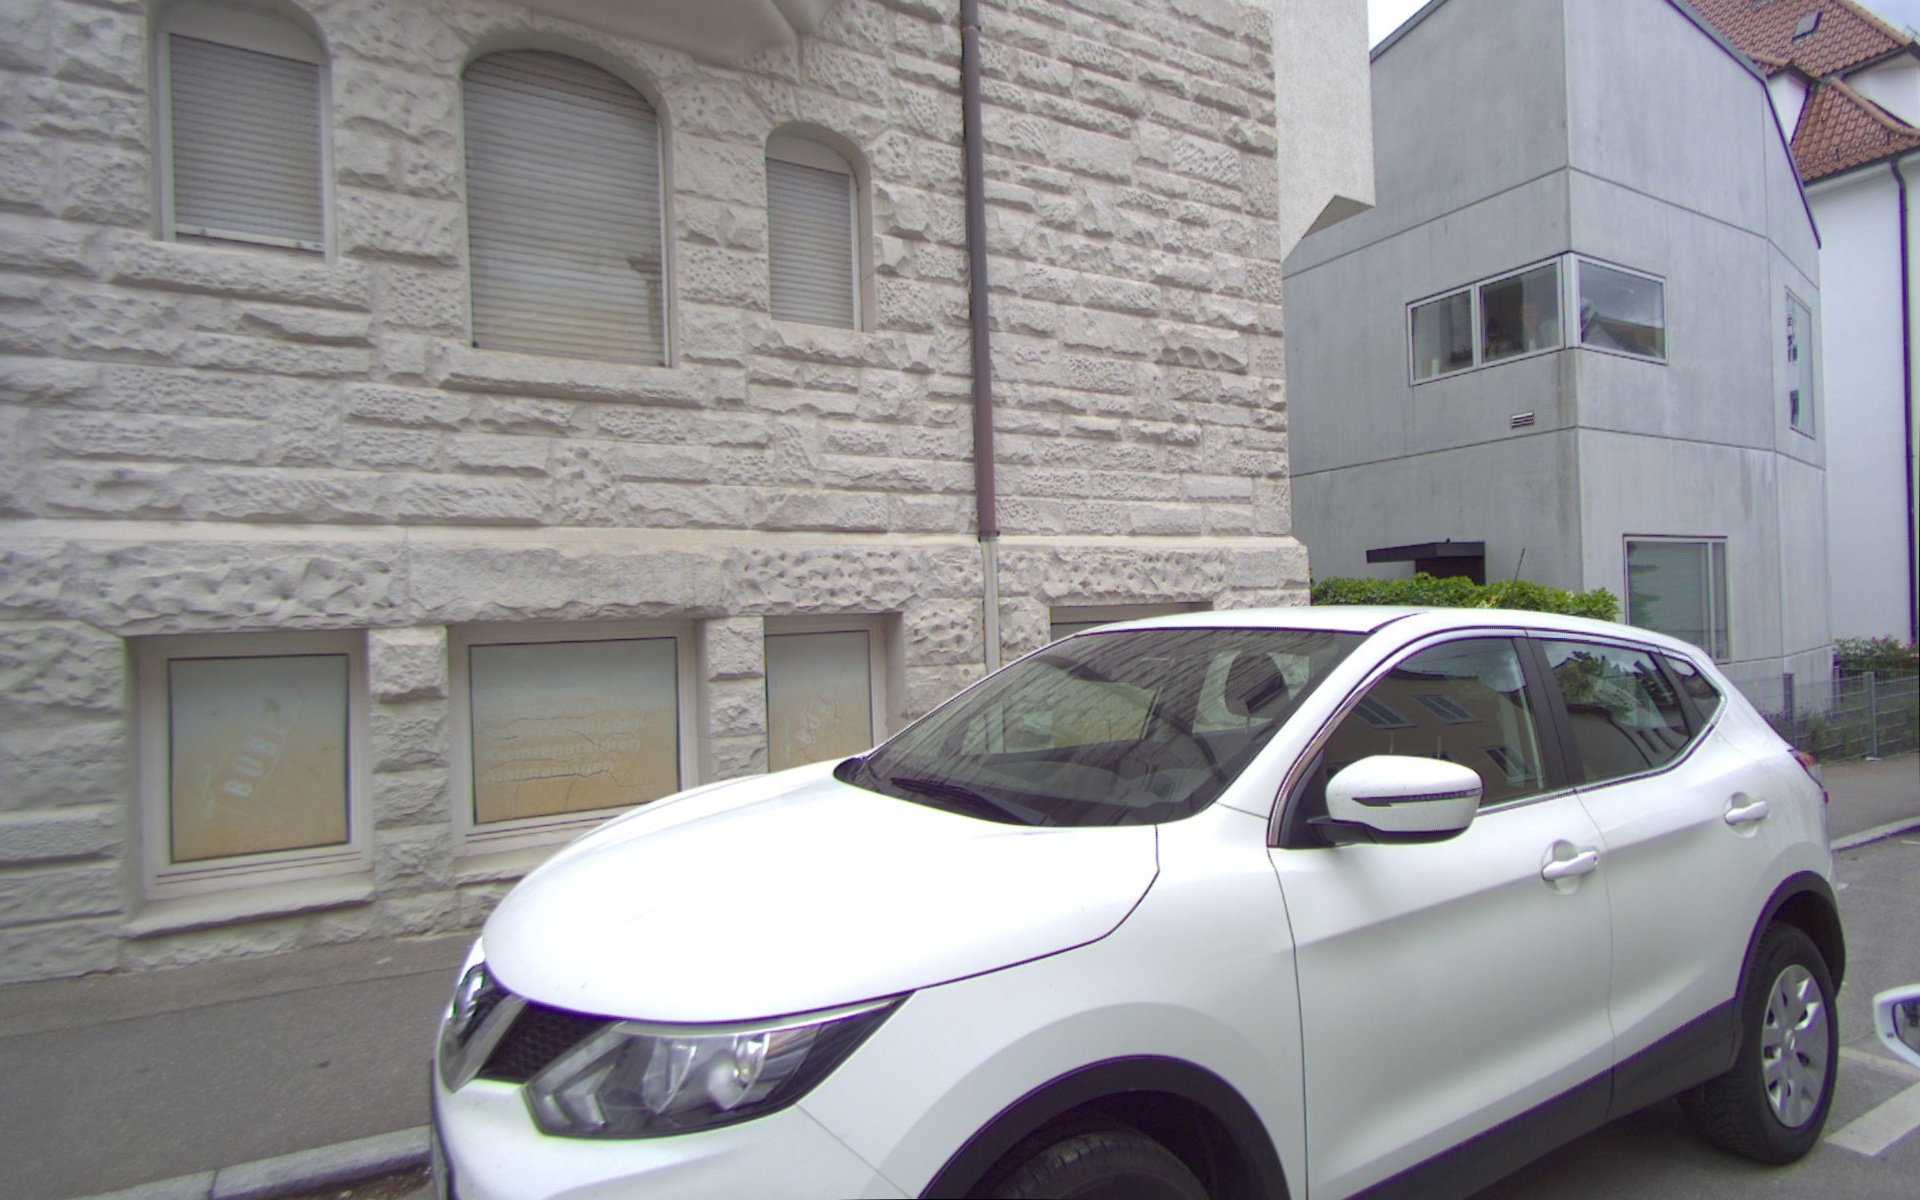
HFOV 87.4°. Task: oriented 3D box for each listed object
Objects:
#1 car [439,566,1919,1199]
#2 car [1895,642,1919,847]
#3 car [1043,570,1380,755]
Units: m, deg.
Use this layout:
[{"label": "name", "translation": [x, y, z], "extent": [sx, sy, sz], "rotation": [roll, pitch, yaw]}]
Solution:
[{"label": "car", "translation": [0.914, 0.796, 2.938], "extent": [4.194, 1.535, 1.835], "rotation": [1, -2, -33]}, {"label": "car", "translation": [9.575, 1.153, 8.143], "extent": [4.422, 1.547, 1.885], "rotation": [2, -3, -33]}, {"label": "car", "translation": [2.647, 0.569, 11.438], "extent": [1.636, 1.524, 3.648], "rotation": [2, 4, -27]}]
